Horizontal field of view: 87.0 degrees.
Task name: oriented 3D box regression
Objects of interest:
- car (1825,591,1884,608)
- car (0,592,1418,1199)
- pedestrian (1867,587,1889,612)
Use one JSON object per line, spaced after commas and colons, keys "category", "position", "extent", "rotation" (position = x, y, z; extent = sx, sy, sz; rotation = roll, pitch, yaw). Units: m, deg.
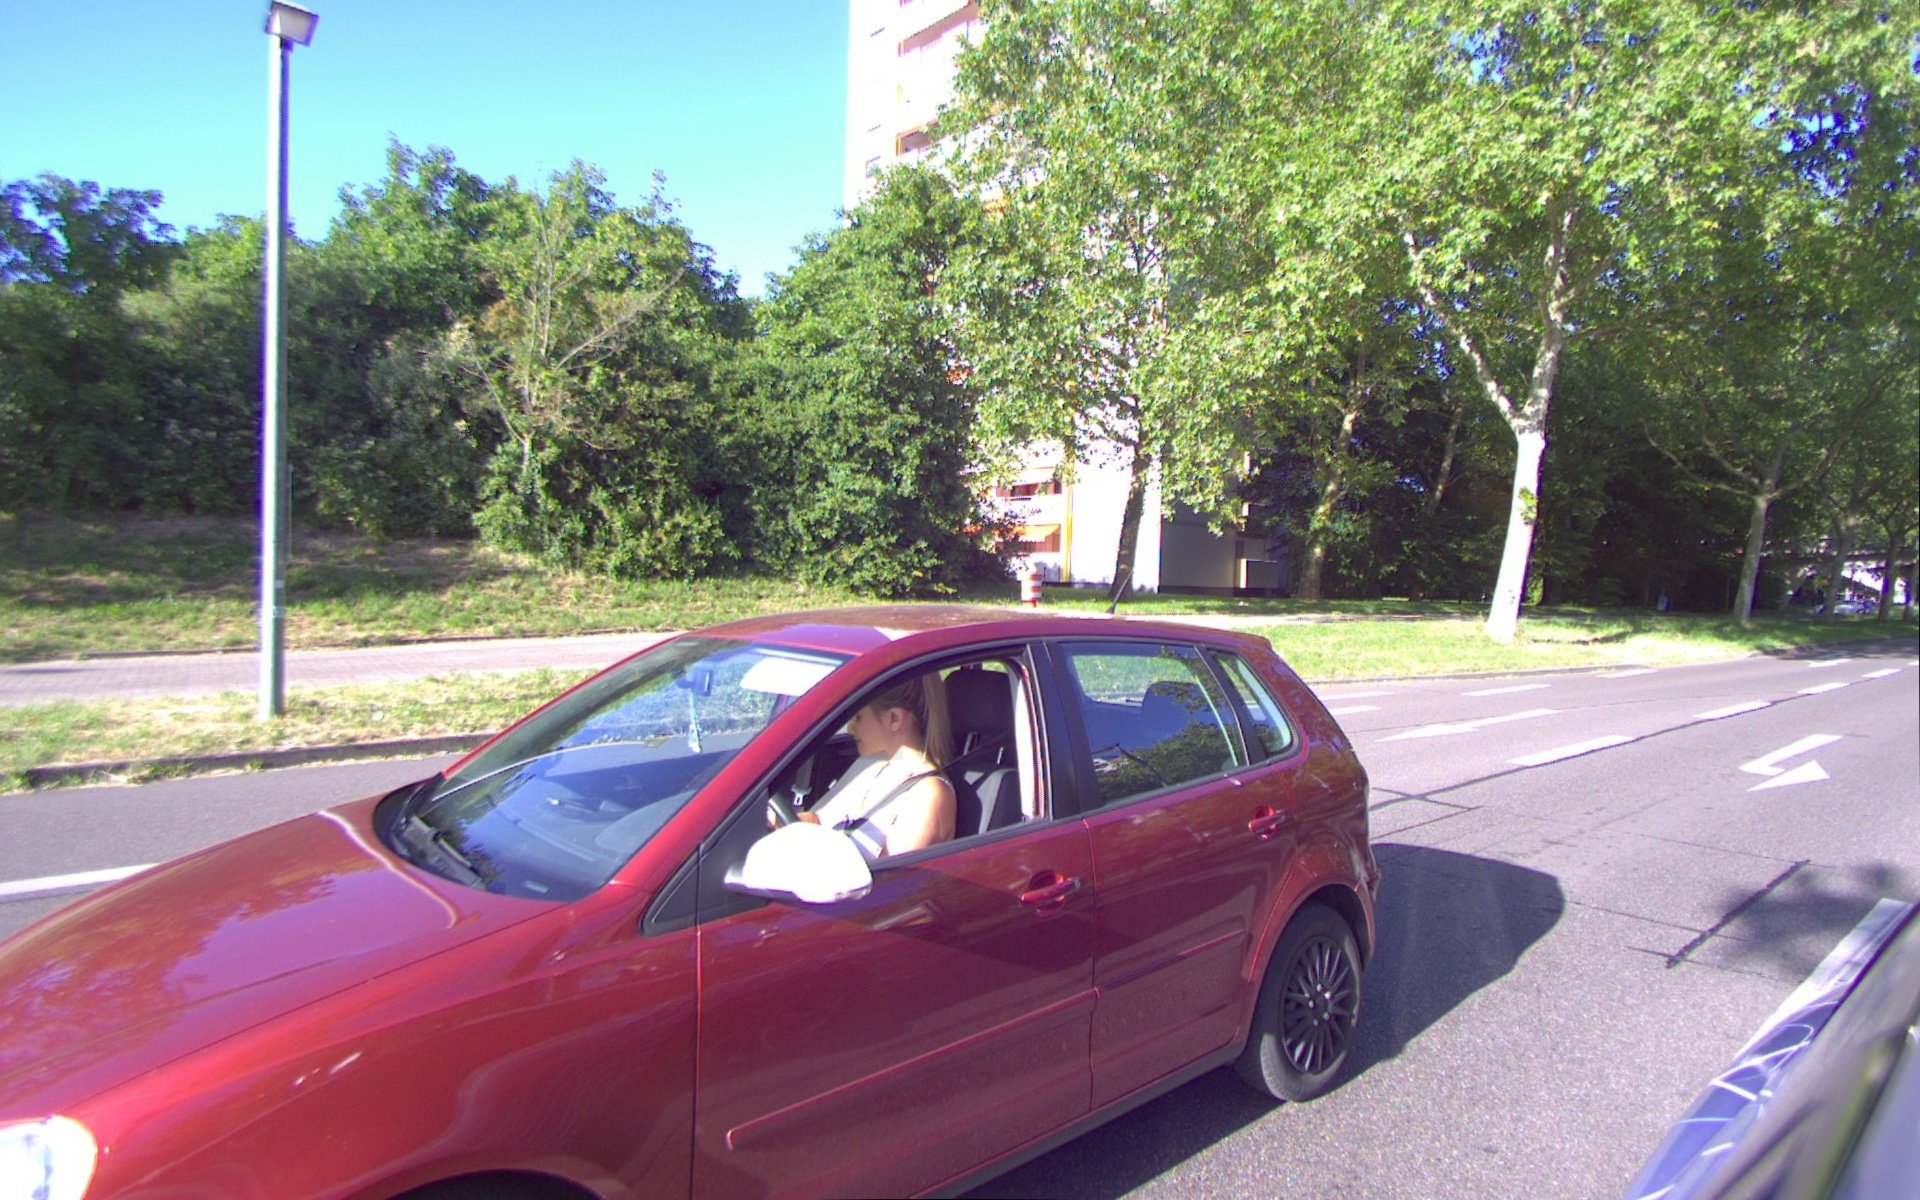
{"category": "car", "position": [80.911, -0.065, 91.582], "extent": [3.983, 1.493, 1.772], "rotation": [0, 0, 42]}
{"category": "car", "position": [-0.437, 0.719, 2.780], "extent": [3.694, 1.456, 1.645], "rotation": [-1, 1, -40]}
{"category": "pedestrian", "position": [75.103, -0.055, 82.779], "extent": [0.943, 2.039, 0.920], "rotation": [0, 0, -5]}
